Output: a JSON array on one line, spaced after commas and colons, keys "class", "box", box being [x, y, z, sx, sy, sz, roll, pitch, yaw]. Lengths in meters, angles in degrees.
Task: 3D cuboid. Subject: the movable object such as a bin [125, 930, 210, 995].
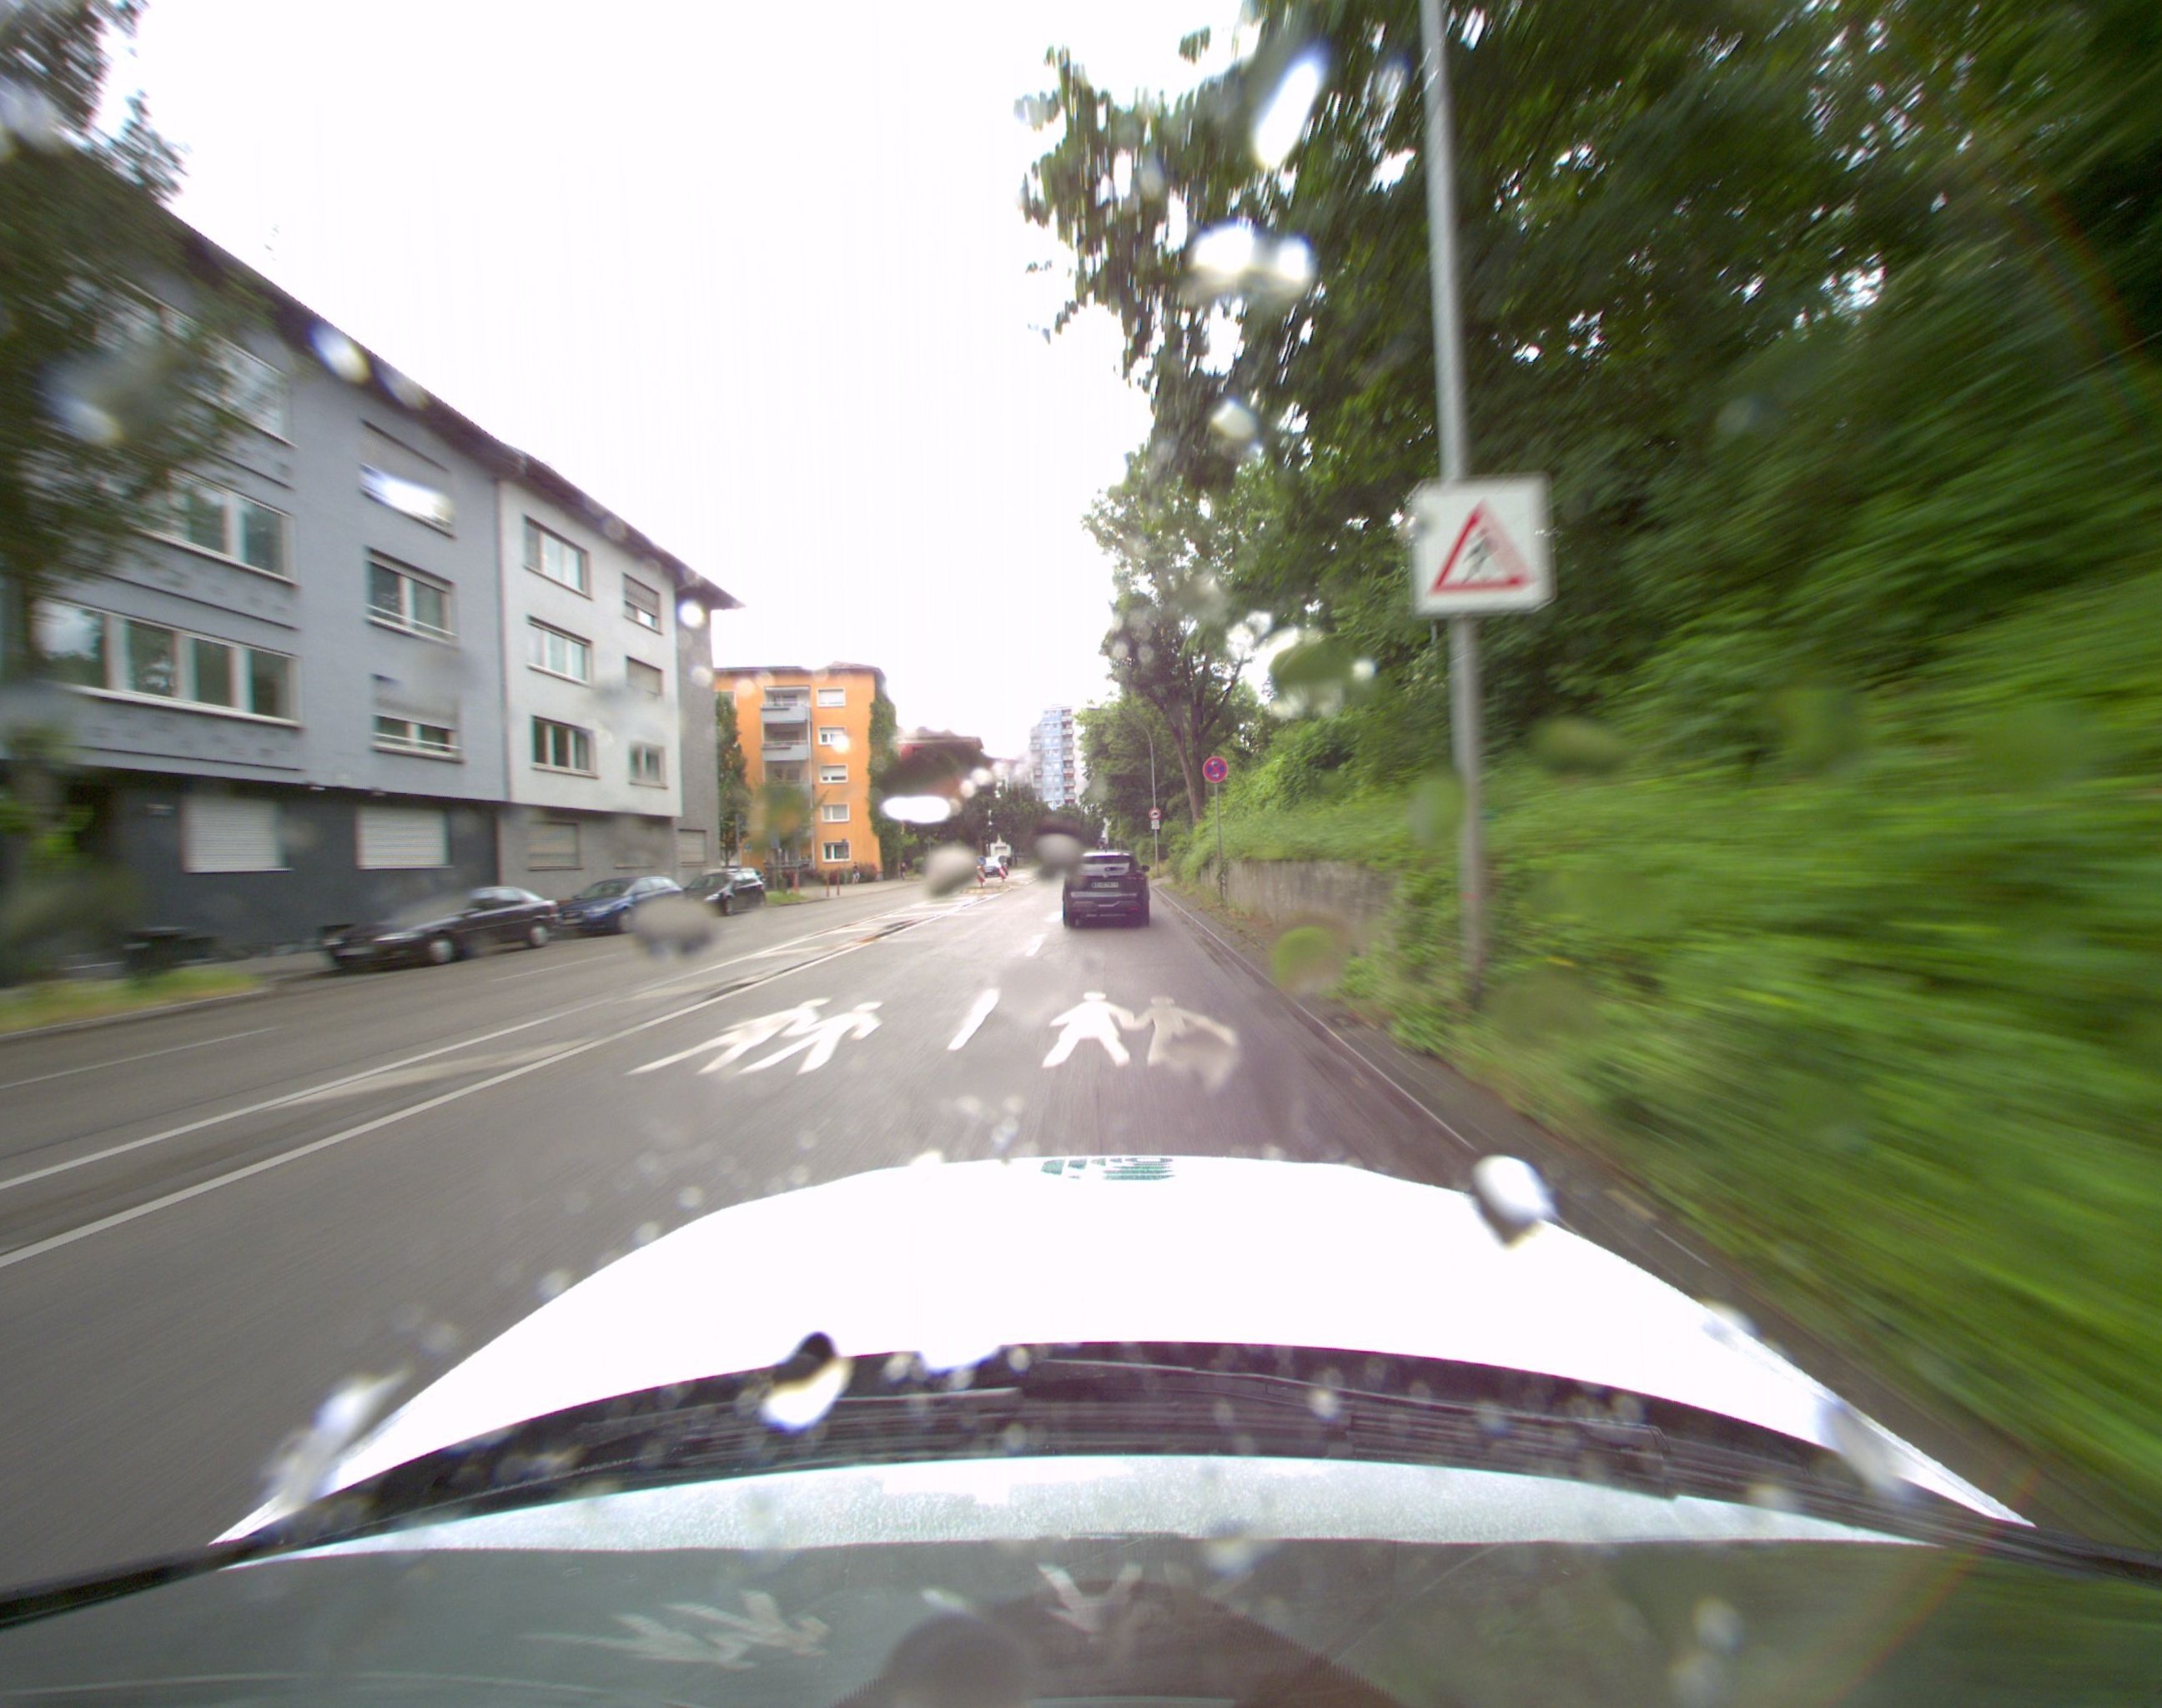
[{"class": "movable object such as a bin", "box": [-13.084, 1.544, 11.679, 0.468, 0.817, 0.609, -4, 0, -1]}]

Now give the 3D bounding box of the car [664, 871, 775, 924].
[{"class": "car", "box": [-12.073, 1.392, 27.528, 1.707, 1.425, 4.323, -4, 0, 0]}]

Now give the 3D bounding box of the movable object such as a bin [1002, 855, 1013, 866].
[{"class": "movable object such as a bin", "box": [-9.920, 0.915, 109.625, 1.316, 1.361, 1.259, -3, 0, 2]}]

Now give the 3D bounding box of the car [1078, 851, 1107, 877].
[{"class": "car", "box": [0.828, 0.674, 57.299, 1.880, 1.711, 4.000, -2, 0, 1]}]

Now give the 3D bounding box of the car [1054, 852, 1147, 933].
[{"class": "car", "box": [0.396, 0.768, 18.364, 1.839, 1.582, 4.000, -1, 0, 0]}]

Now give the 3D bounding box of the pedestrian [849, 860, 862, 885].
[{"class": "pedestrian", "box": [-14.930, 1.249, 53.971, 0.584, 1.604, 0.661, -4, 0, 2]}]

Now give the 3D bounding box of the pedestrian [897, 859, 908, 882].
[{"class": "pedestrian", "box": [-13.195, 1.192, 60.211, 0.607, 1.674, 0.594, -3, 0, -2]}]

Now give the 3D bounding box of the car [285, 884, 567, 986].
[{"class": "car", "box": [-12.381, 1.438, 15.882, 1.683, 1.358, 4.578, -6, 0, 0]}]

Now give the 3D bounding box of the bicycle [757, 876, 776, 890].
[{"class": "bicycle", "box": [-19.000, 1.760, 49.209, 0.462, 0.749, 1.547, -3, 0, 2]}]

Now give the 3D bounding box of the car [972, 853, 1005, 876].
[{"class": "car", "box": [-6.708, 0.742, 59.432, 1.782, 1.504, 4.647, -4, 0, 0]}]

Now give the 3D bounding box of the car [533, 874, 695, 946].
[{"class": "car", "box": [-12.184, 1.394, 21.617, 1.675, 1.449, 4.276, -5, 0, 0]}]
